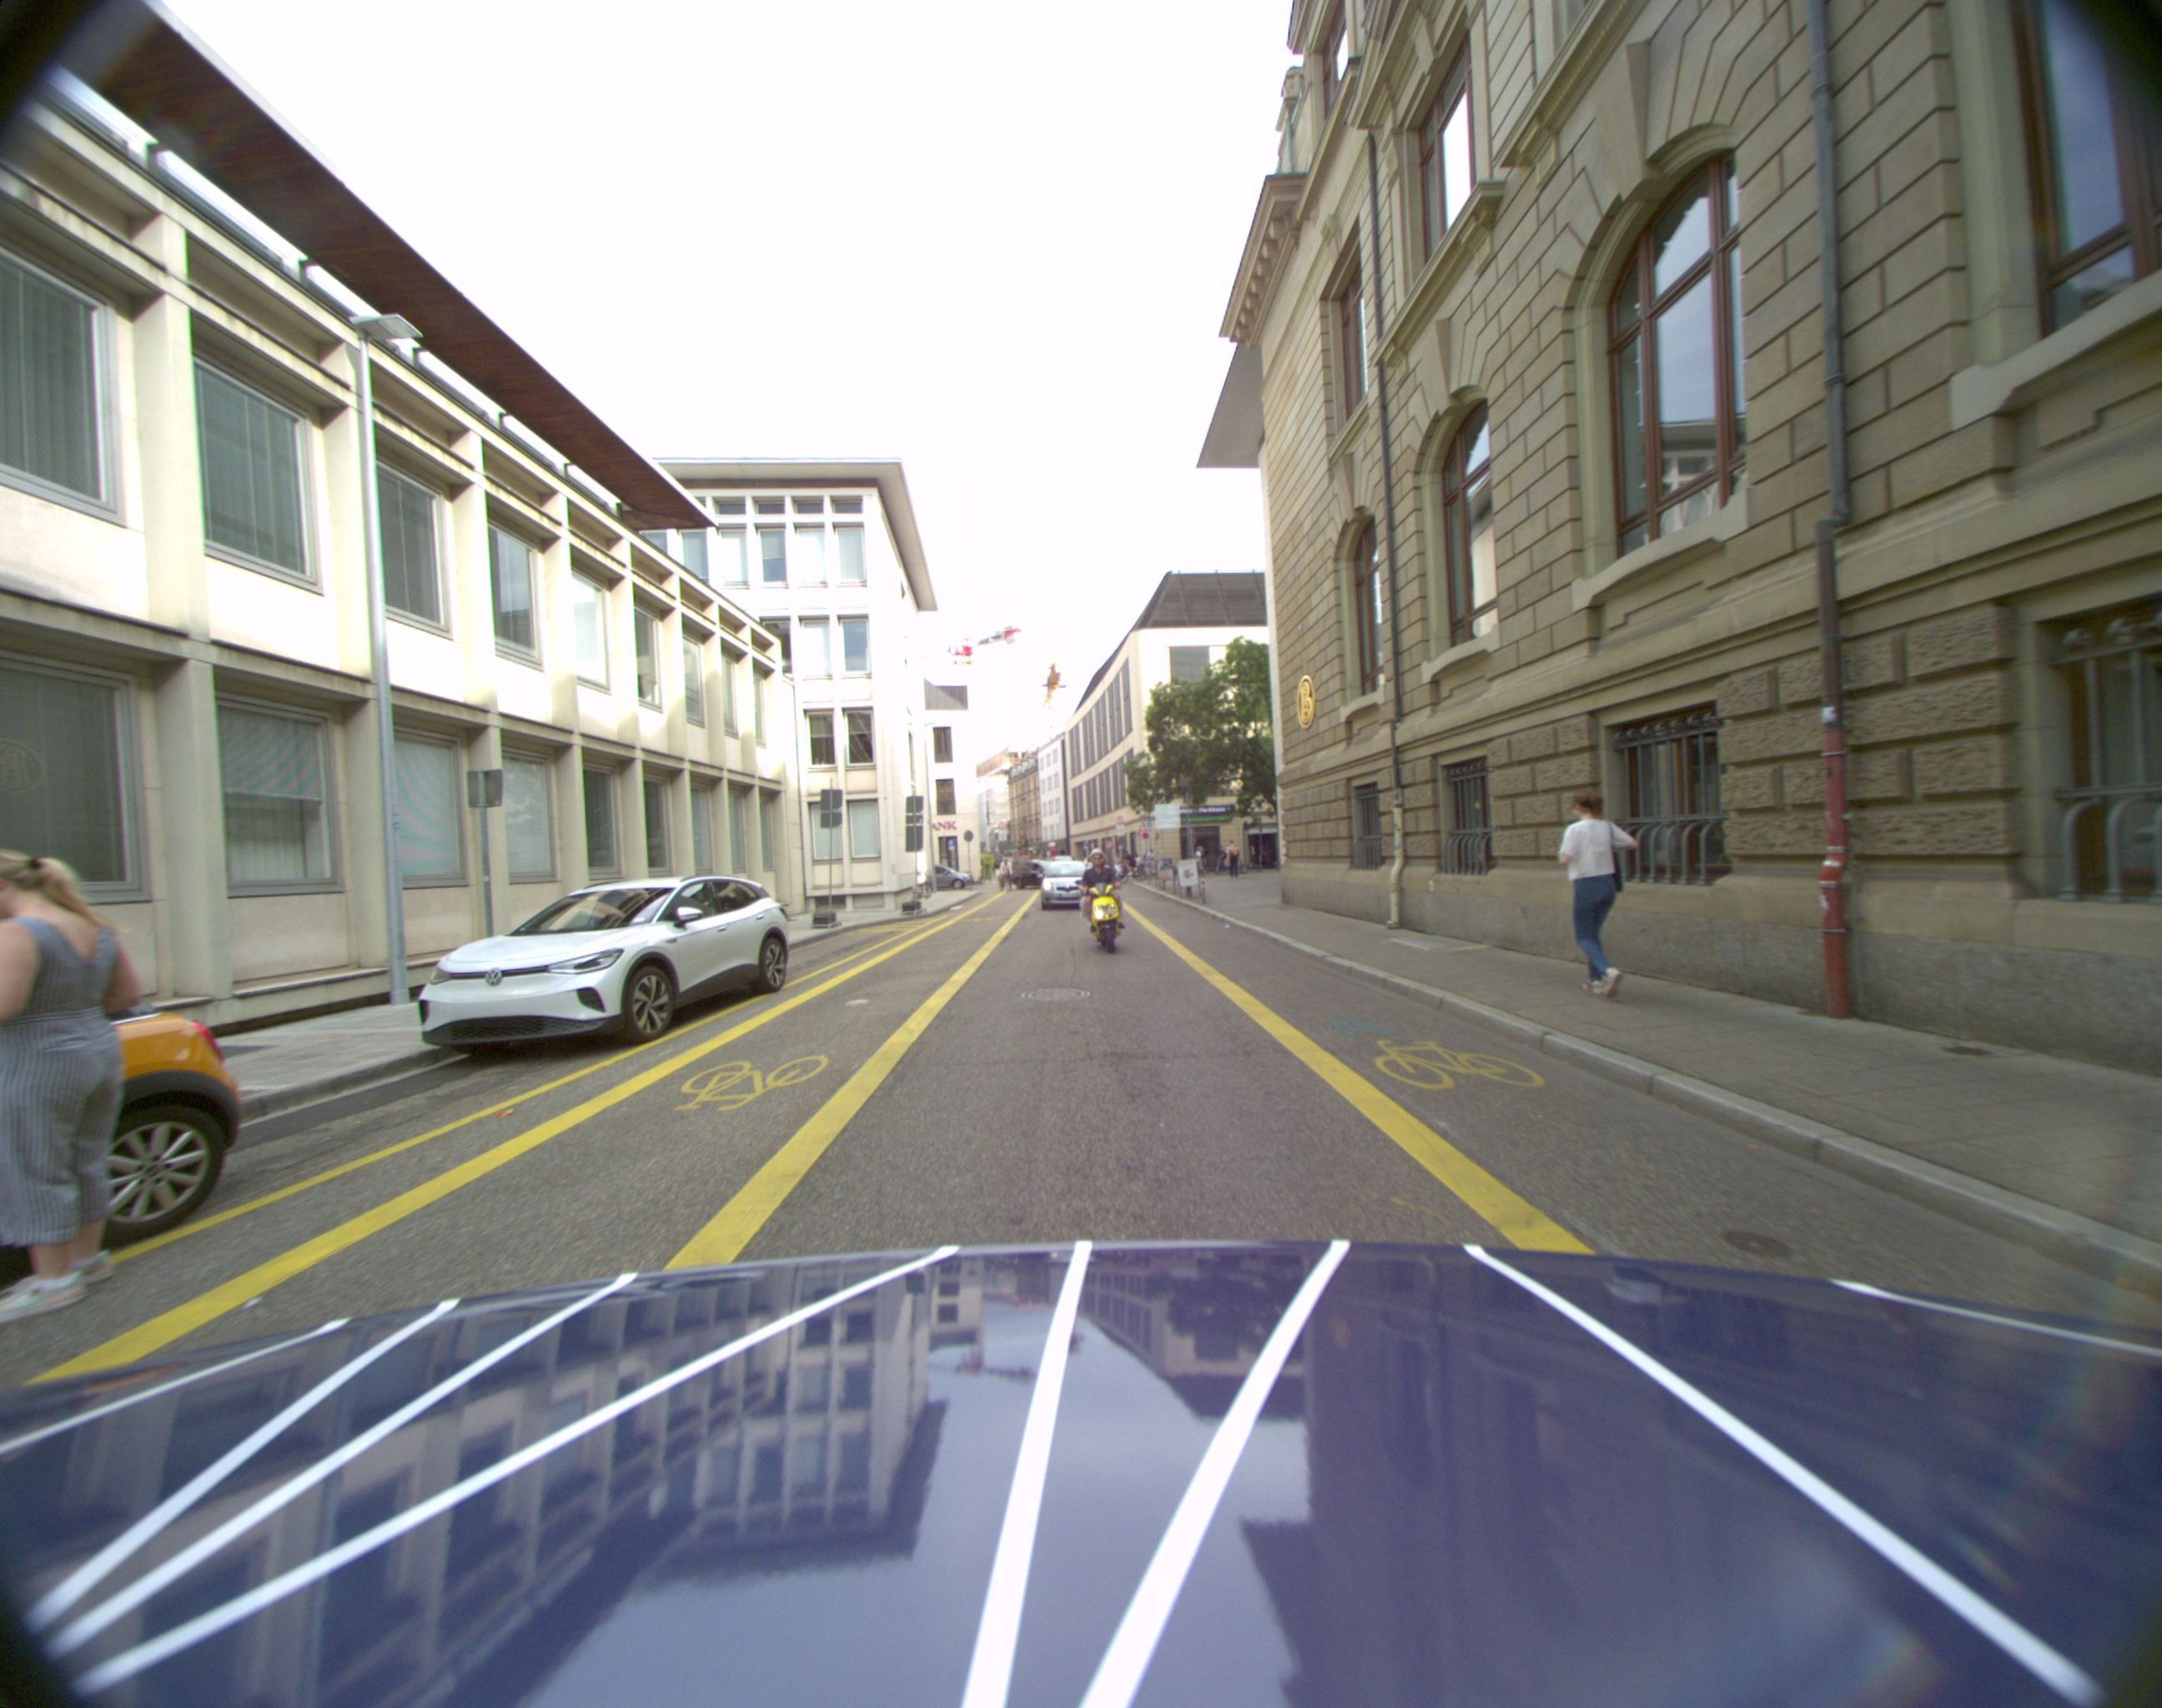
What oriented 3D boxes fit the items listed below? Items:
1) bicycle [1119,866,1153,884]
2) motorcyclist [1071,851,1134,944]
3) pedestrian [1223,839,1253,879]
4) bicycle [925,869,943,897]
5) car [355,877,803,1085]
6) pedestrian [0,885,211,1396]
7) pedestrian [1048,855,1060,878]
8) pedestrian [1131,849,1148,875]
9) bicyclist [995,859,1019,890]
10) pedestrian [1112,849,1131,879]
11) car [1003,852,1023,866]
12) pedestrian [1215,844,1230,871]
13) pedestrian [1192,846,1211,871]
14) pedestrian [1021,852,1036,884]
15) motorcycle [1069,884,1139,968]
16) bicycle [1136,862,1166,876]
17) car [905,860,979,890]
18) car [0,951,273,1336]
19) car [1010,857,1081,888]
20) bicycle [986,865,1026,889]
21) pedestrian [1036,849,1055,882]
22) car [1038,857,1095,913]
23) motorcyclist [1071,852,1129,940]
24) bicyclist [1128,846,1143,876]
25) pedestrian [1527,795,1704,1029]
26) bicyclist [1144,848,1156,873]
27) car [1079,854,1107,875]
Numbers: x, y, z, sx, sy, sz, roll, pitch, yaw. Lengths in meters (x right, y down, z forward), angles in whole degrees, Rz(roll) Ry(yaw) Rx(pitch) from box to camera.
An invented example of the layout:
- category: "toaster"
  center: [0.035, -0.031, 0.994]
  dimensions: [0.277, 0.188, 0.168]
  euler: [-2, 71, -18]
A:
- category: "bicycle"
  center: [3.044, 1.143, 42.133]
  dimensions: [1.722, 0.829, 0.602]
  euler: [-6, -2, 11]
- category: "motorcyclist"
  center: [0.334, 0.681, 12.509]
  dimensions: [0.924, 1.445, 1.065]
  euler: [-1, 0, -3]
- category: "pedestrian"
  center: [7.111, 0.218, 34.476]
  dimensions: [1.028, 1.710, 0.818]
  euler: [-5, 1, -1]
- category: "bicycle"
  center: [-6.709, 1.309, 34.697]
  dimensions: [0.590, 1.160, 1.813]
  euler: [-3, 1, -6]
- category: "car"
  center: [-5.023, 1.127, 8.585]
  dimensions: [1.864, 1.595, 4.514]
  euler: [-4, -1, 2]
- category: "pedestrian"
  center: [-4.175, 1.031, 2.934]
  dimensions: [0.700, 1.753, 0.705]
  euler: [-3, 1, -9]
- category: "pedestrian"
  center: [-2.156, 0.975, 61.653]
  dimensions: [0.861, 1.820, 0.774]
  euler: [-3, 1, -1]
- category: "pedestrian"
  center: [4.128, 0.567, 53.759]
  dimensions: [0.879, 1.699, 0.910]
  euler: [-7, 1, -2]
- category: "bicyclist"
  center: [-3.918, 1.059, 40.076]
  dimensions: [0.894, 1.585, 0.875]
  euler: [-3, 1, -32]
- category: "pedestrian"
  center: [2.449, 0.610, 46.264]
  dimensions: [0.775, 1.820, 0.860]
  euler: [-3, 1, -22]
- category: "car"
  center: [-7.916, 0.602, 88.256]
  dimensions: [1.590, 1.477, 3.995]
  euler: [-3, 1, -14]
- category: "pedestrian"
  center: [9.810, 0.253, 52.558]
  dimensions: [0.648, 1.820, 0.860]
  euler: [-3, 1, -14]
- category: "pedestrian"
  center: [8.639, 0.332, 54.678]
  dimensions: [1.060, 1.755, 0.892]
  euler: [-3, 2, -8]
- category: "pedestrian"
  center: [-3.000, 0.783, 43.329]
  dimensions: [0.644, 1.755, 0.653]
  euler: [-3, 1, -13]
- category: "motorcycle"
  center: [0.330, 1.127, 12.494]
  dimensions: [0.930, 1.158, 2.126]
  euler: [-1, 0, -3]
- category: "bicycle"
  center: [4.449, 0.970, 48.559]
  dimensions: [1.769, 0.792, 0.663]
  euler: [-3, 1, -4]
- category: "car"
  center: [-8.486, 1.244, 46.715]
  dimensions: [4.194, 1.581, 1.814]
  euler: [-3, 1, -4]
- category: "car"
  center: [-5.247, 1.278, 2.106]
  dimensions: [1.684, 1.426, 3.887]
  euler: [-5, -1, 2]
- category: "car"
  center: [-1.912, 0.981, 40.130]
  dimensions: [1.720, 1.482, 3.755]
  euler: [-4, 1, -40]
- category: "bicycle"
  center: [-3.984, 1.210, 40.190]
  dimensions: [0.872, 1.188, 2.857]
  euler: [-3, 1, -32]
- category: "pedestrian"
  center: [-1.982, 0.657, 42.875]
  dimensions: [0.745, 1.804, 0.756]
  euler: [-7, 1, -13]
- category: "car"
  center: [-0.468, 0.943, 24.710]
  dimensions: [1.562, 1.482, 3.783]
  euler: [-6, 1, -1]
- category: "motorcyclist"
  center: [0.311, 0.693, 12.956]
  dimensions: [0.904, 1.445, 0.742]
  euler: [-1, 0, -3]
- category: "bicyclist"
  center: [3.026, 0.399, 42.122]
  dimensions: [0.643, 1.609, 0.623]
  euler: [-5, 0, 10]
- category: "pedestrian"
  center: [4.554, 0.457, 6.554]
  dimensions: [0.665, 1.809, 1.047]
  euler: [-5, 1, -1]
- category: "bicyclist"
  center: [4.393, 0.395, 48.550]
  dimensions: [0.586, 1.586, 0.663]
  euler: [-3, 1, -4]
- category: "car"
  center: [0.964, 0.859, 62.419]
  dimensions: [1.563, 1.547, 4.100]
  euler: [-3, 1, -9]
